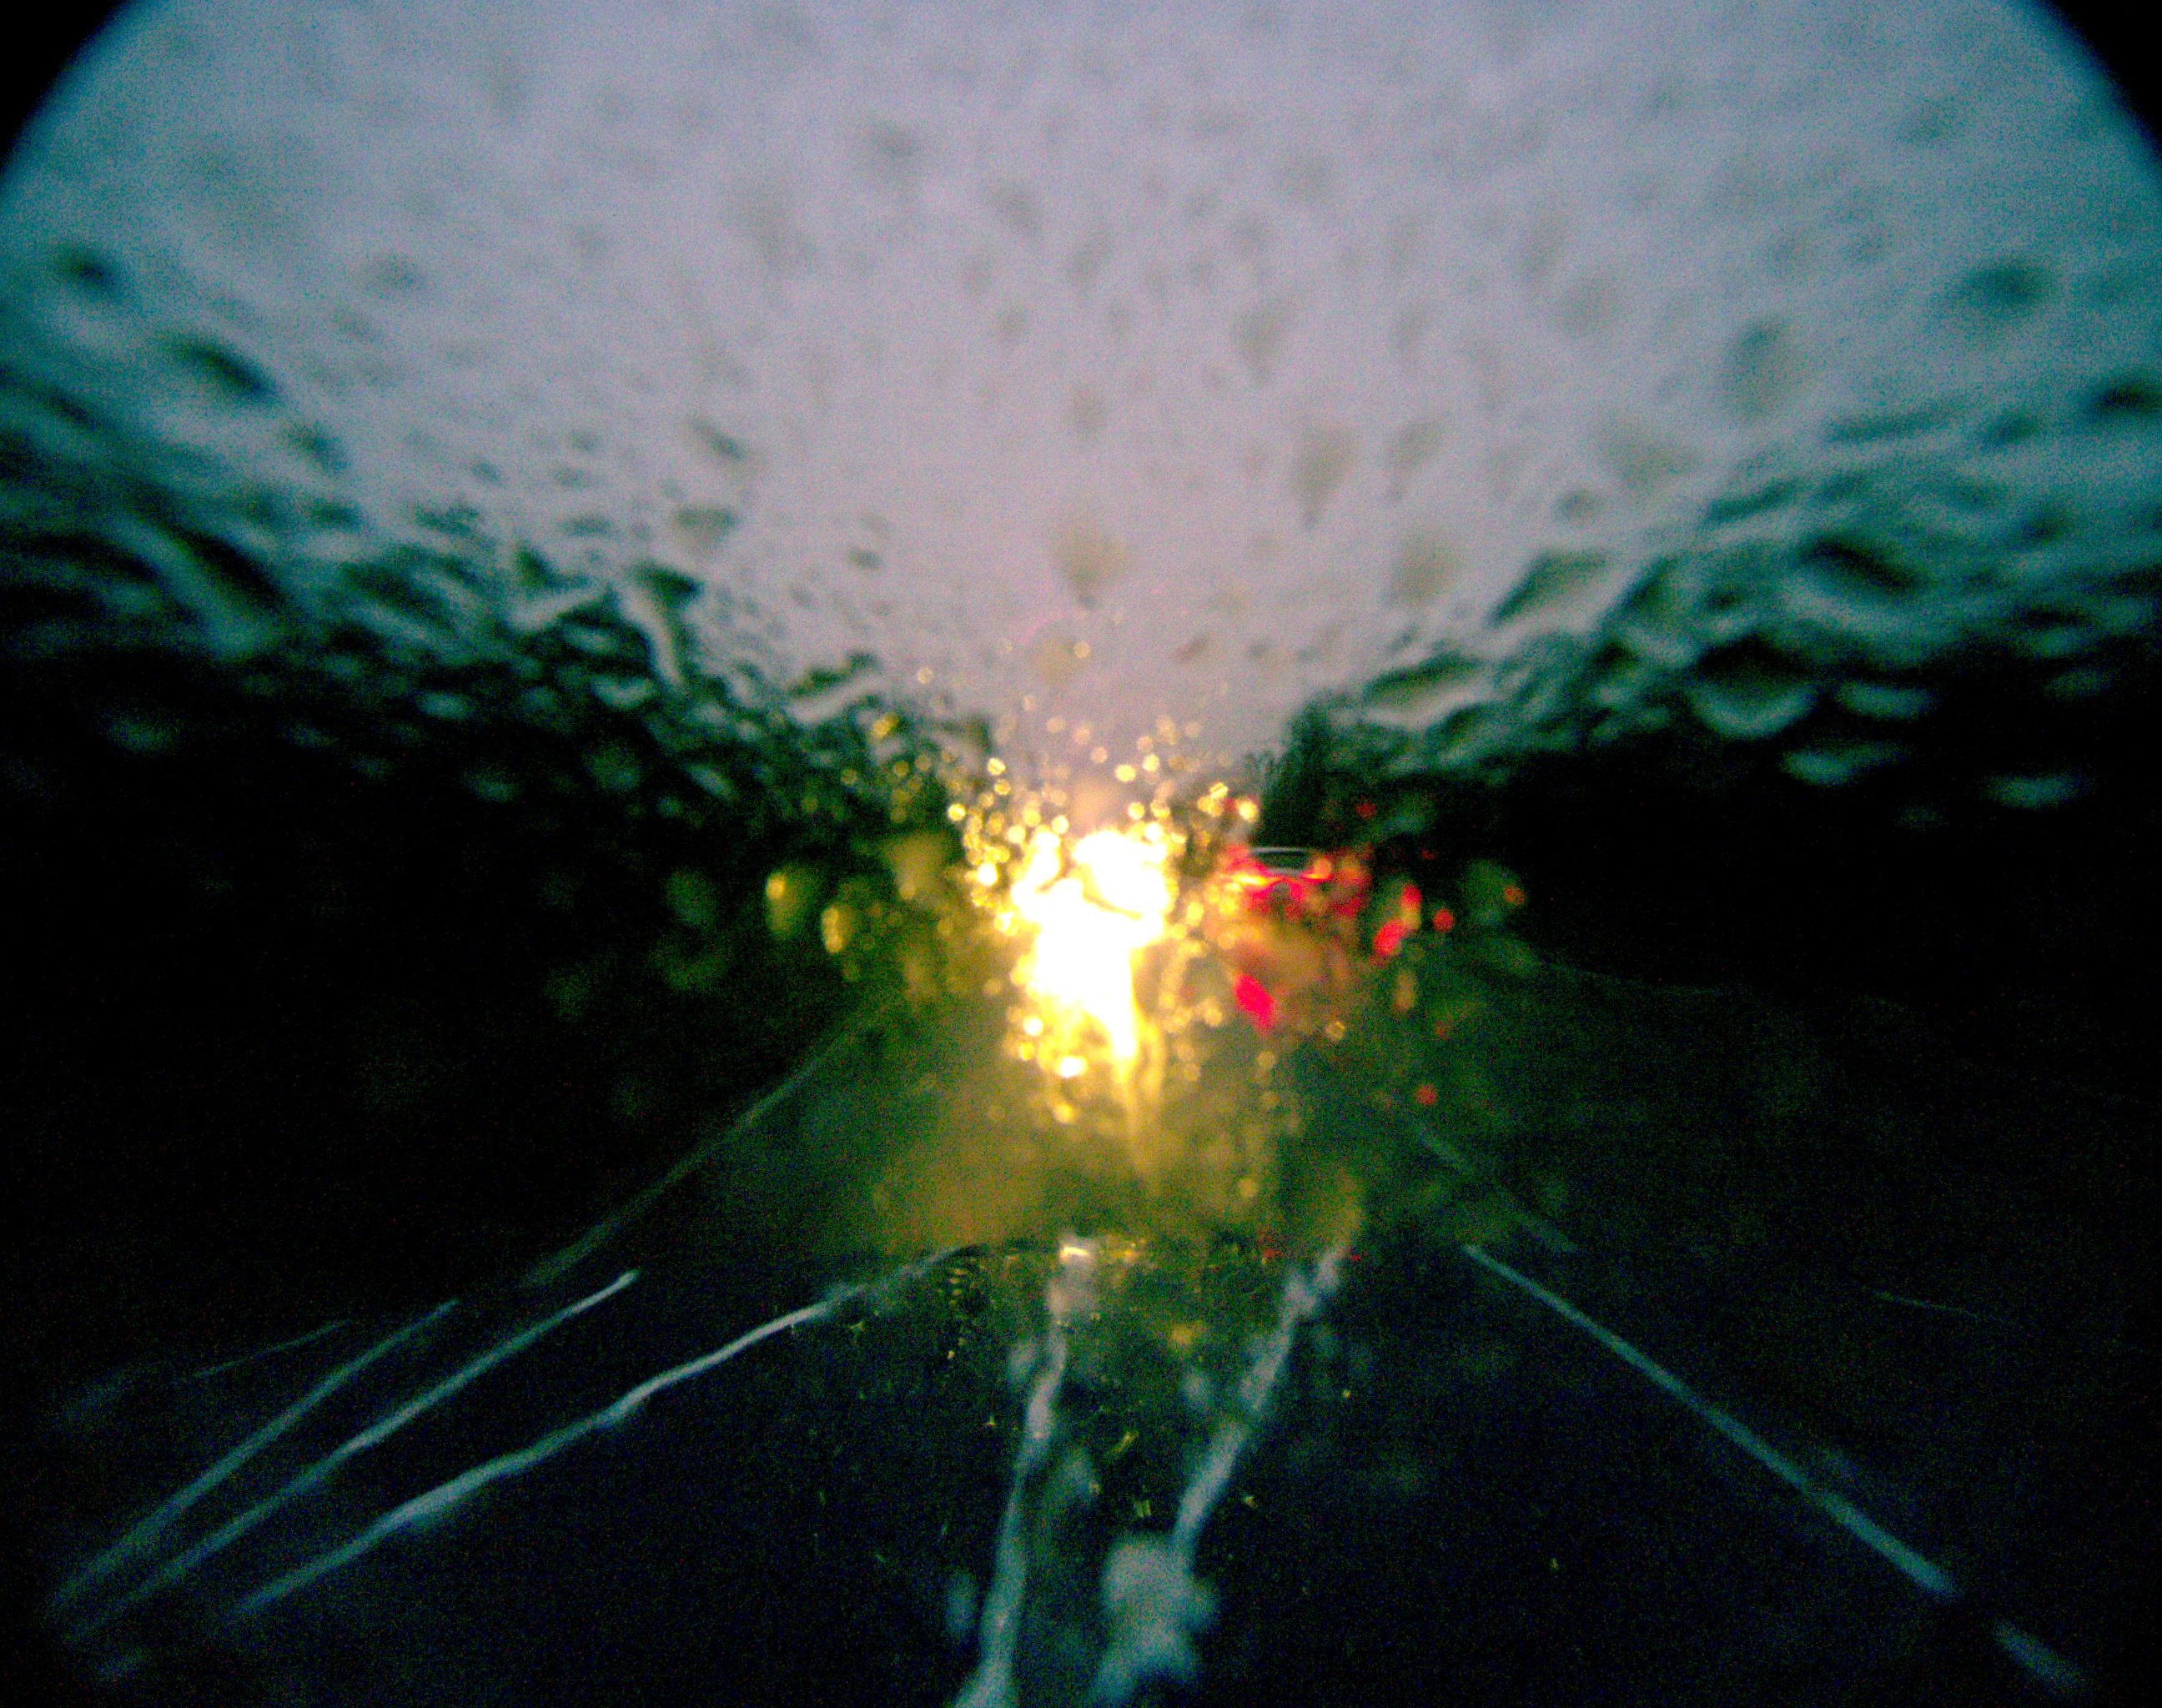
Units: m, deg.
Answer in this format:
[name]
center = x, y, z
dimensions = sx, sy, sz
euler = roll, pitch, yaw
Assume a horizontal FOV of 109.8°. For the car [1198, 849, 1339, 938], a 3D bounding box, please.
[car]
center = 3.745, 0.708, 16.085
dimensions = 1.738, 1.525, 4.959
euler = -2, 0, 0
